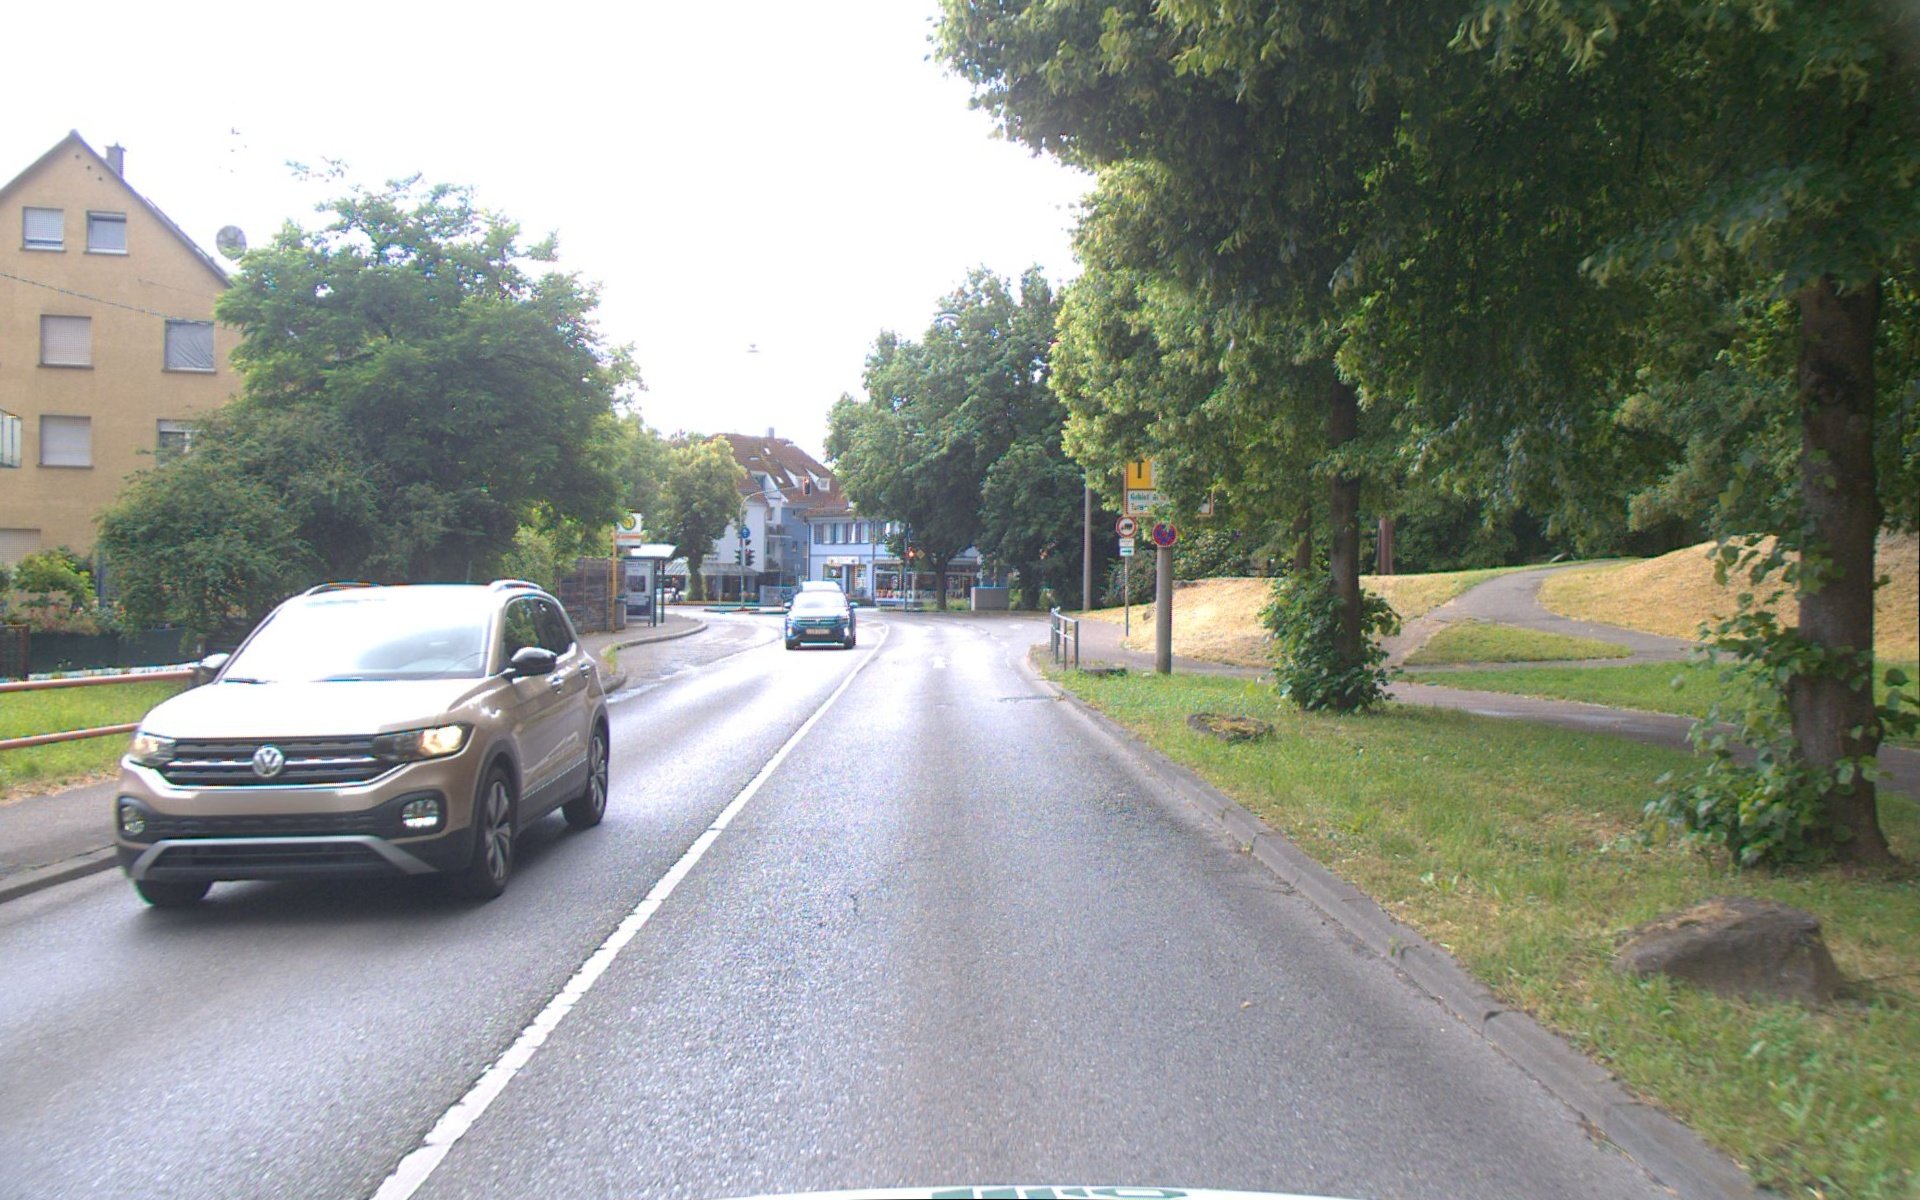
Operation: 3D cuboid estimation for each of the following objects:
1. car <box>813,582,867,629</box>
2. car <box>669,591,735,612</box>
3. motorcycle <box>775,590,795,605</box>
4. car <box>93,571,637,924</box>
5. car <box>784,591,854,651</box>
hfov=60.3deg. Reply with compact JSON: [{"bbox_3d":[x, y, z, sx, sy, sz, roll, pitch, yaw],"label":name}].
[{"bbox_3d":[-4.678,0.191,65.005,1.896,1.754,4.690,-1,0,-2],"label":"car"},{"bbox_3d":[-19.466,0.119,124.826,4.480,1.544,2.002,-1,0,14],"label":"car"},{"bbox_3d":[-14.220,-0.192,134.225,1.463,1.126,0.561,-1,5,12],"label":"motorcycle"},{"bbox_3d":[-3.056,0.653,9.414,1.670,1.538,3.999,-1,0,-1],"label":"car"},{"bbox_3d":[-3.723,0.528,44.203,1.681,1.494,4.097,-1,1,-2],"label":"car"}]
